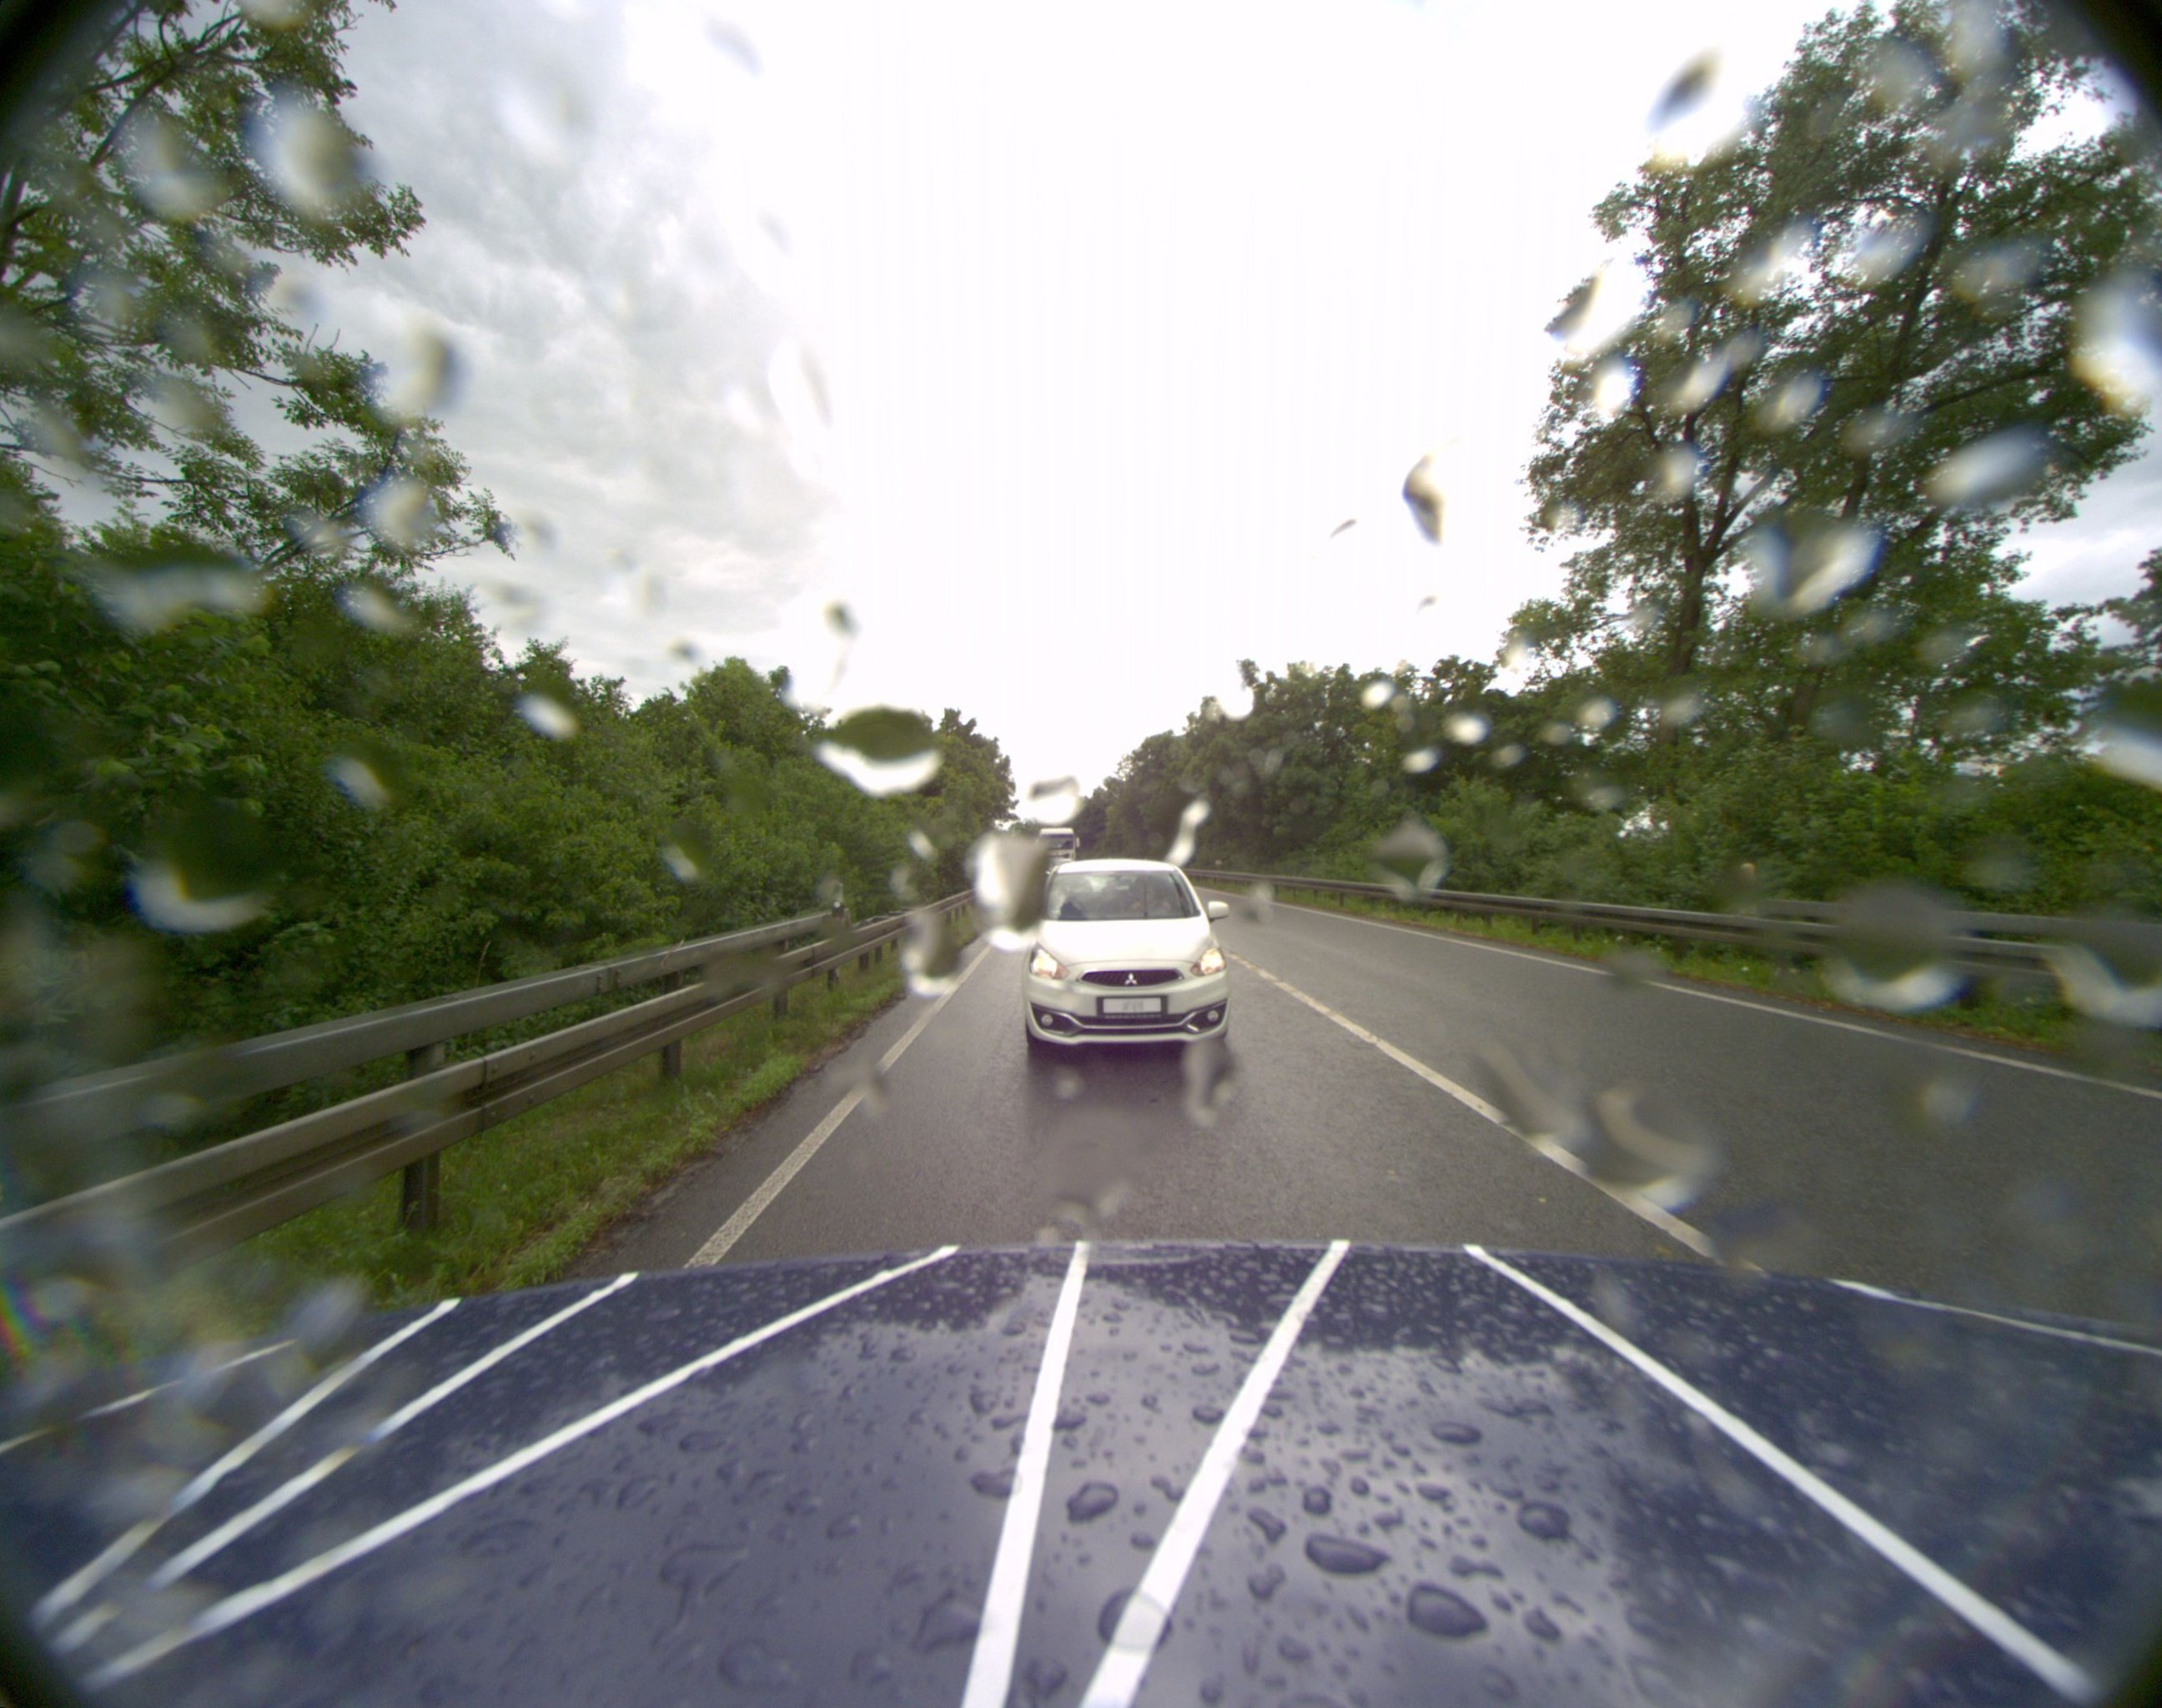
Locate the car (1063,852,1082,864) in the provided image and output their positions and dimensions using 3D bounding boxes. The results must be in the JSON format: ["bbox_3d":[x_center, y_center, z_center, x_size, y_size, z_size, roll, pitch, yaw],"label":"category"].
[{"bbox_3d":[-1.044,0.486,91.320,1.820,1.445,4.044,-2,0,-7],"label":"car"}]

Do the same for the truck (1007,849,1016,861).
[{"bbox_3d":[-17.143,0.199,187.553,1.481,2.860,5.679,-2,0,-12],"label":"truck"}]

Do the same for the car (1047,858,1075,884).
[{"bbox_3d":[-1.127,0.950,42.988,1.476,1.410,3.428,-1,-1,-2],"label":"car"}]

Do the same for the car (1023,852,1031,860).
[{"bbox_3d":[-11.242,0.422,157.398,1.421,1.611,3.476,-2,0,-9],"label":"car"}]

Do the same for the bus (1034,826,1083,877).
[{"bbox_3d":[-1.923,-0.186,58.401,3.064,3.405,13.634,-2,0,-4],"label":"bus"}]

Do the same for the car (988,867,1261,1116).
[{"bbox_3d":[0.313,0.914,6.868,1.700,1.471,4.063,-1,0,1],"label":"car"}]

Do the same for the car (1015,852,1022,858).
[{"bbox_3d":[-14.020,0.222,171.156,1.146,1.123,2.549,-2,0,-12],"label":"car"}]
